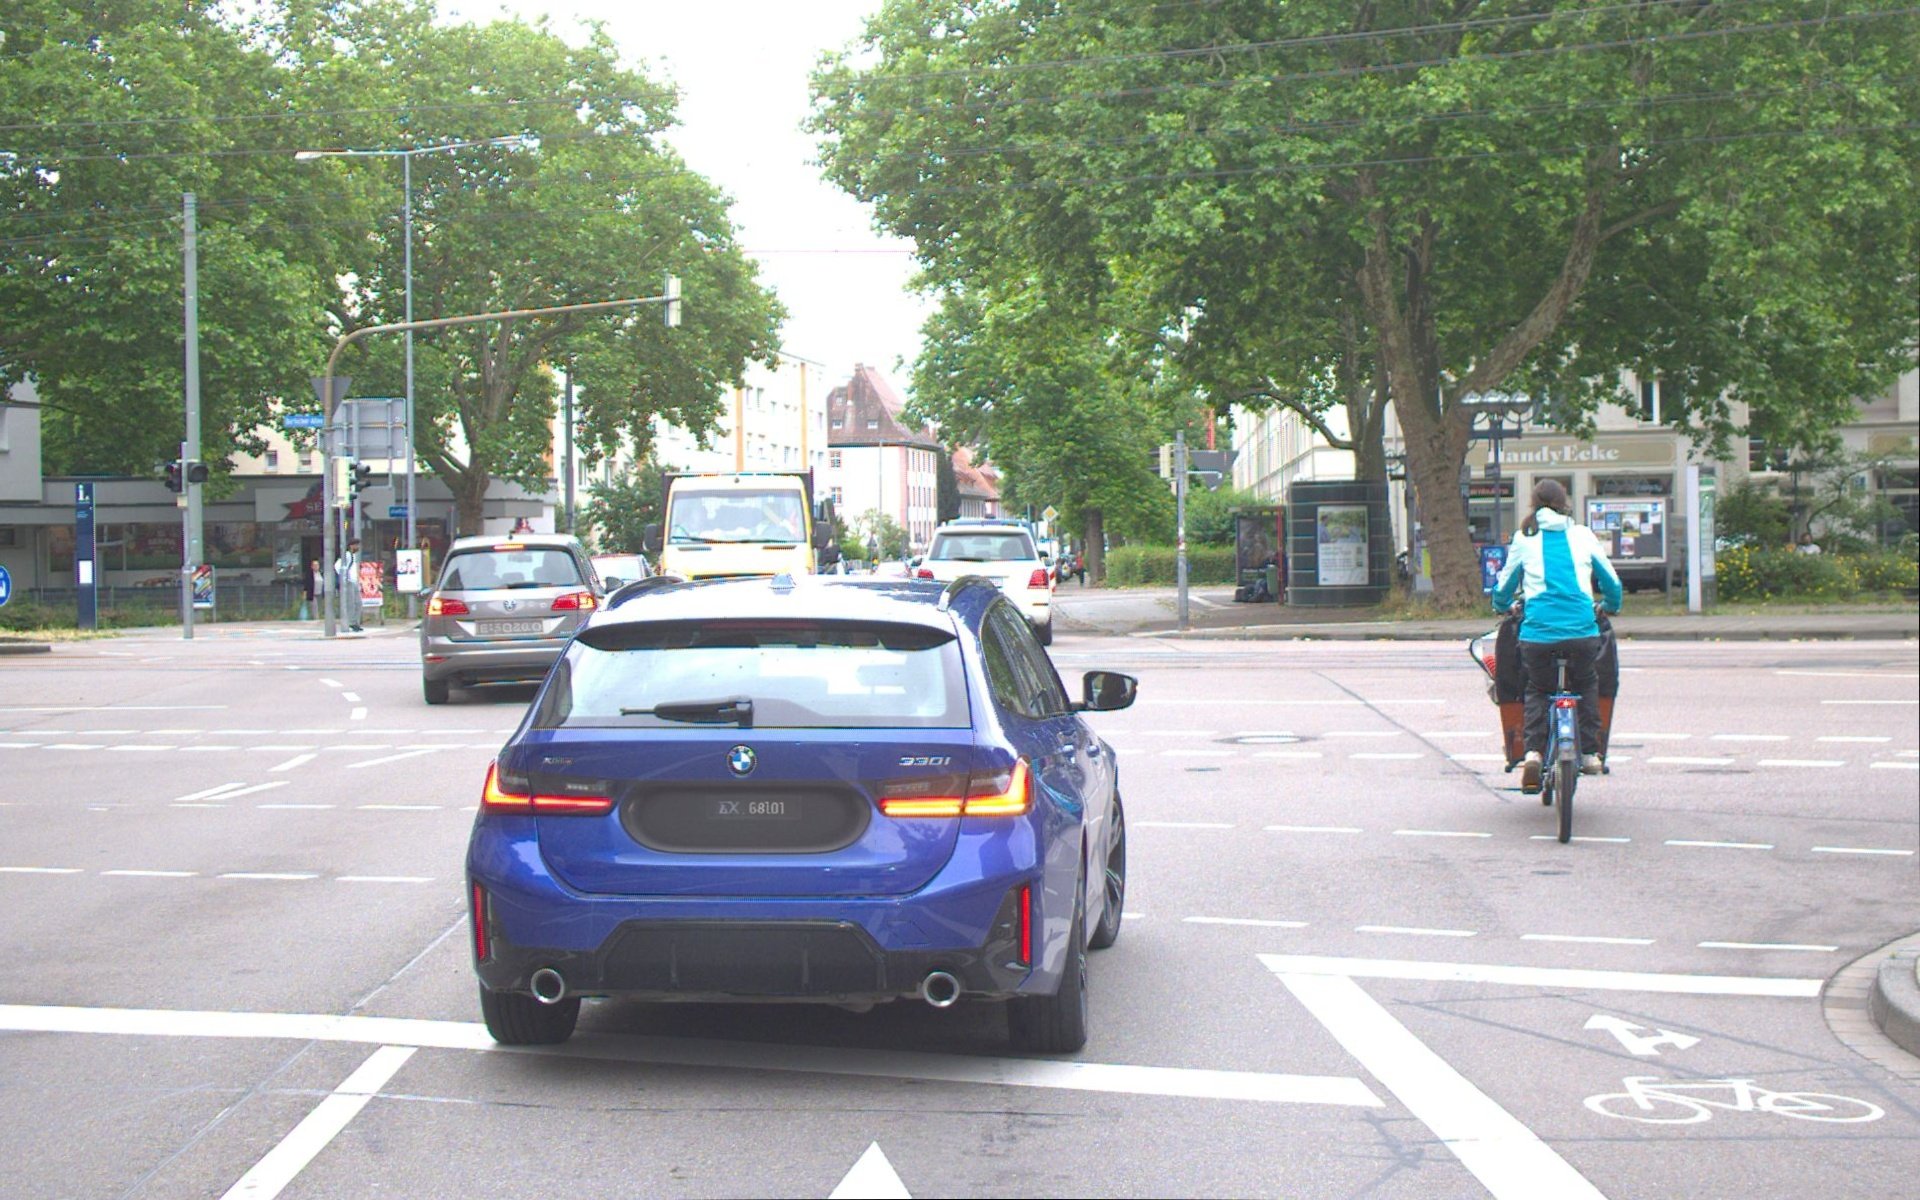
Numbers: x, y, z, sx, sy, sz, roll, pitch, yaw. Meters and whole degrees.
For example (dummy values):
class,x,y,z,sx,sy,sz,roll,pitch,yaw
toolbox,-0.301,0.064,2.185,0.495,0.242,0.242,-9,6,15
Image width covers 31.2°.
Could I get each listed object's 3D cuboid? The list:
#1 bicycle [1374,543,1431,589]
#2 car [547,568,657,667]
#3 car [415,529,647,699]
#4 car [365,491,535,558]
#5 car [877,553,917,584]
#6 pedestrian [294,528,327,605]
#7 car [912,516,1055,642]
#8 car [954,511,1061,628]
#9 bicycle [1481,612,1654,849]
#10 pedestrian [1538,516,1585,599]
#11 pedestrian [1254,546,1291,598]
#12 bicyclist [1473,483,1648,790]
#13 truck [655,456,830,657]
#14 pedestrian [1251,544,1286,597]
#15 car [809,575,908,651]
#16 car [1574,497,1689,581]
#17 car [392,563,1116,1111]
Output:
class,x,y,z,sx,sy,sz,roll,pitch,yaw
bicycle,11.568,-0.903,89.807,0.779,1.164,2.330,-1,1,25
car,-7.733,0.354,74.586,1.920,2.007,3.936,-1,1,0
car,-4.102,0.086,33.413,1.732,1.519,4.000,-1,1,0
car,-13.493,-1.990,90.906,3.986,1.700,2.000,-1,0,-28
car,-3.071,-1.559,168.266,1.853,1.448,4.167,-1,1,0
pedestrian,-15.194,-0.782,80.425,0.574,1.779,0.620,-1,1,8
car,0.296,-0.312,46.501,1.815,1.586,4.000,-1,1,0
car,0.826,-0.570,62.065,1.815,1.998,4.000,-1,1,0
bicycle,3.118,0.639,17.804,0.494,1.094,2.139,-1,1,0
pedestrian,12.627,-0.894,72.210,0.784,1.737,0.925,-1,1,-1
pedestrian,8.006,-0.726,88.154,0.853,1.310,0.762,-1,1,0
bicyclist,3.064,0.171,17.619,0.686,1.512,1.058,-1,1,0
truck,-2.833,-0.588,44.885,2.074,2.400,5.463,-2,1,-4
pedestrian,8.018,-0.771,89.267,0.817,1.367,0.762,-1,1,0
car,-2.042,0.246,70.019,1.809,1.422,4.317,-1,1,1
car,18.203,-1.658,93.059,2.177,2.193,3.995,-1,1,24
car,-0.459,0.615,11.345,1.815,1.400,4.319,-1,1,4
